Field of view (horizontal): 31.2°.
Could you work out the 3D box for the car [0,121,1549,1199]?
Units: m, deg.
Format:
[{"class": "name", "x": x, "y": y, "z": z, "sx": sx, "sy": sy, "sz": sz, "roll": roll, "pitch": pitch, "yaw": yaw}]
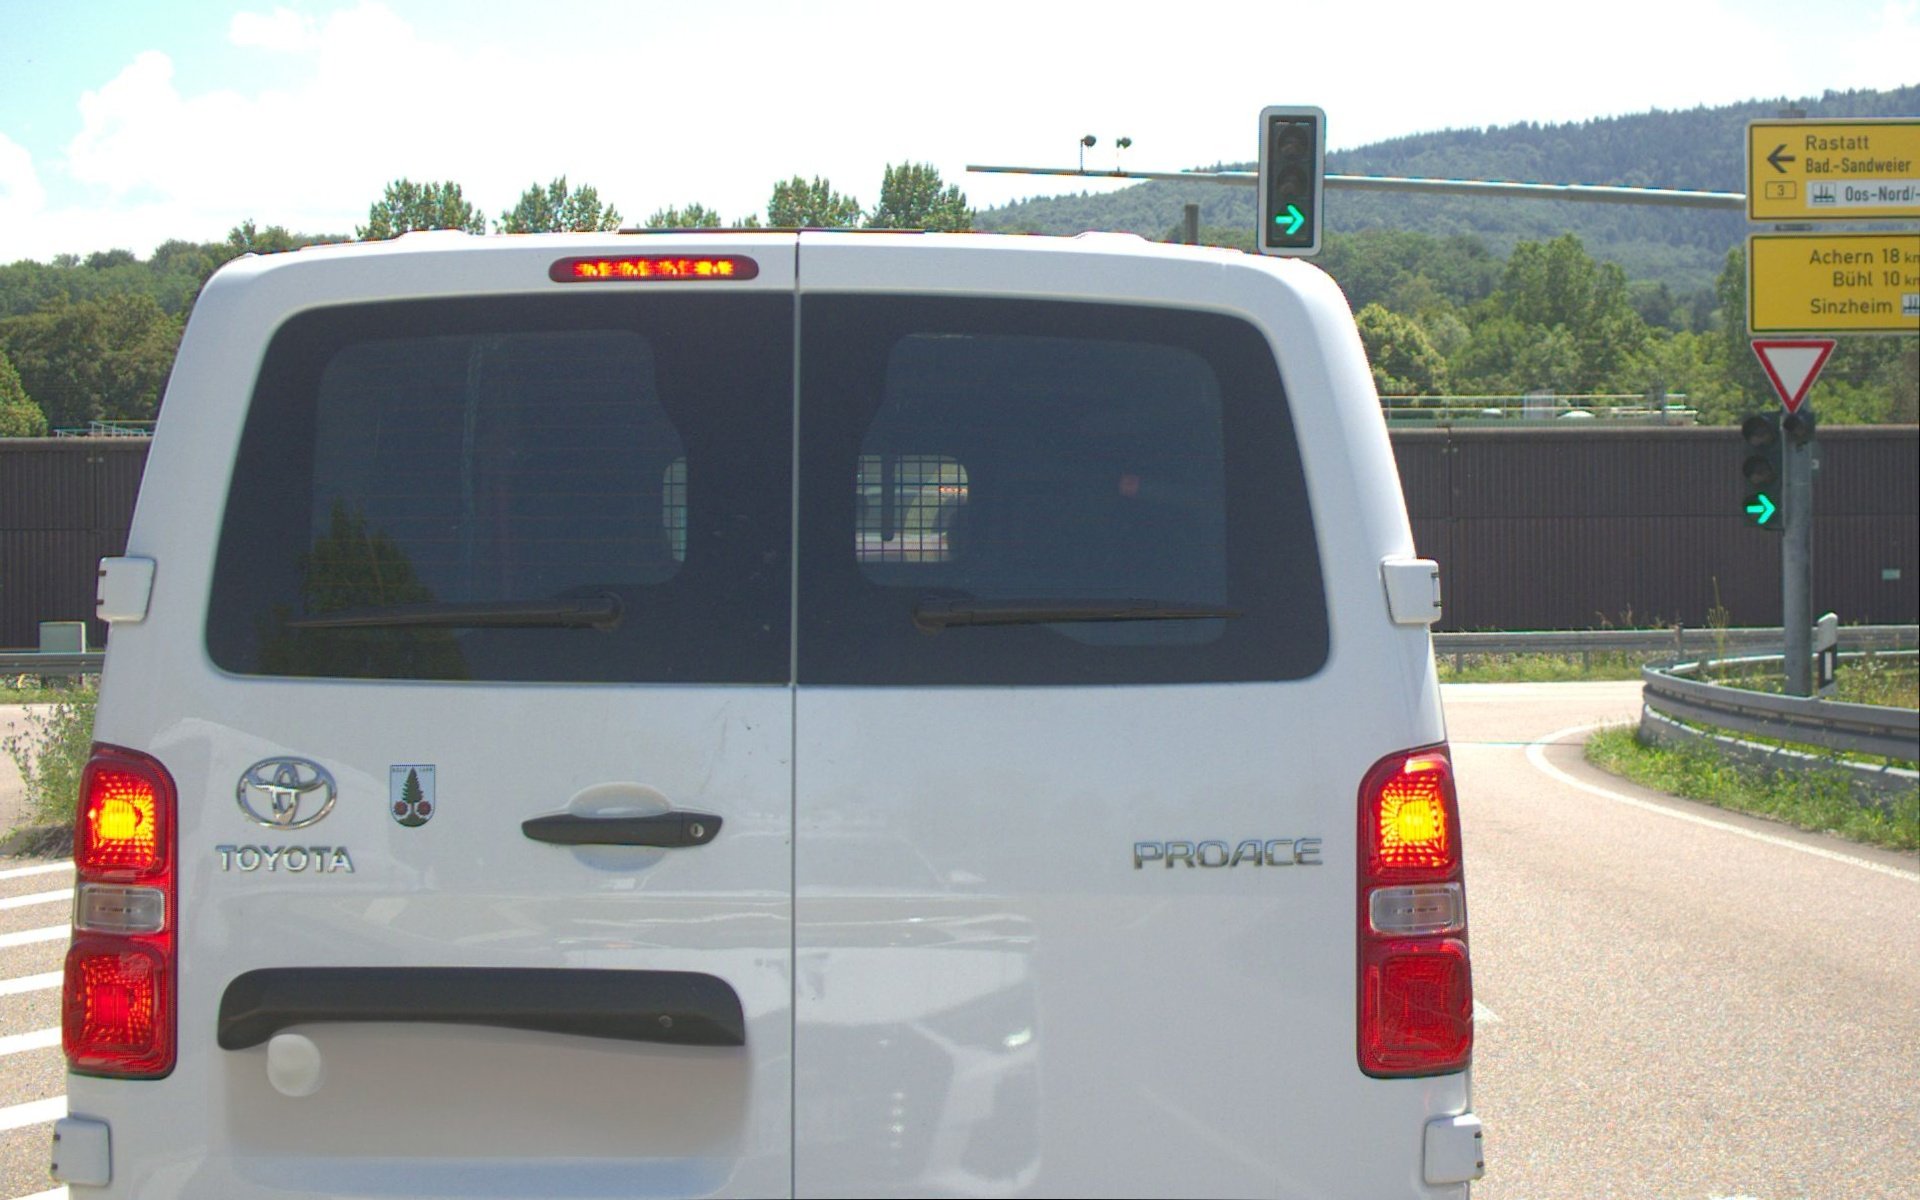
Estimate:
[{"class": "car", "x": -0.257, "y": 0.439, "z": 5.953, "sx": 1.814, "sy": 2.011, "sz": 4.000, "roll": 0, "pitch": 1, "yaw": -1}]
